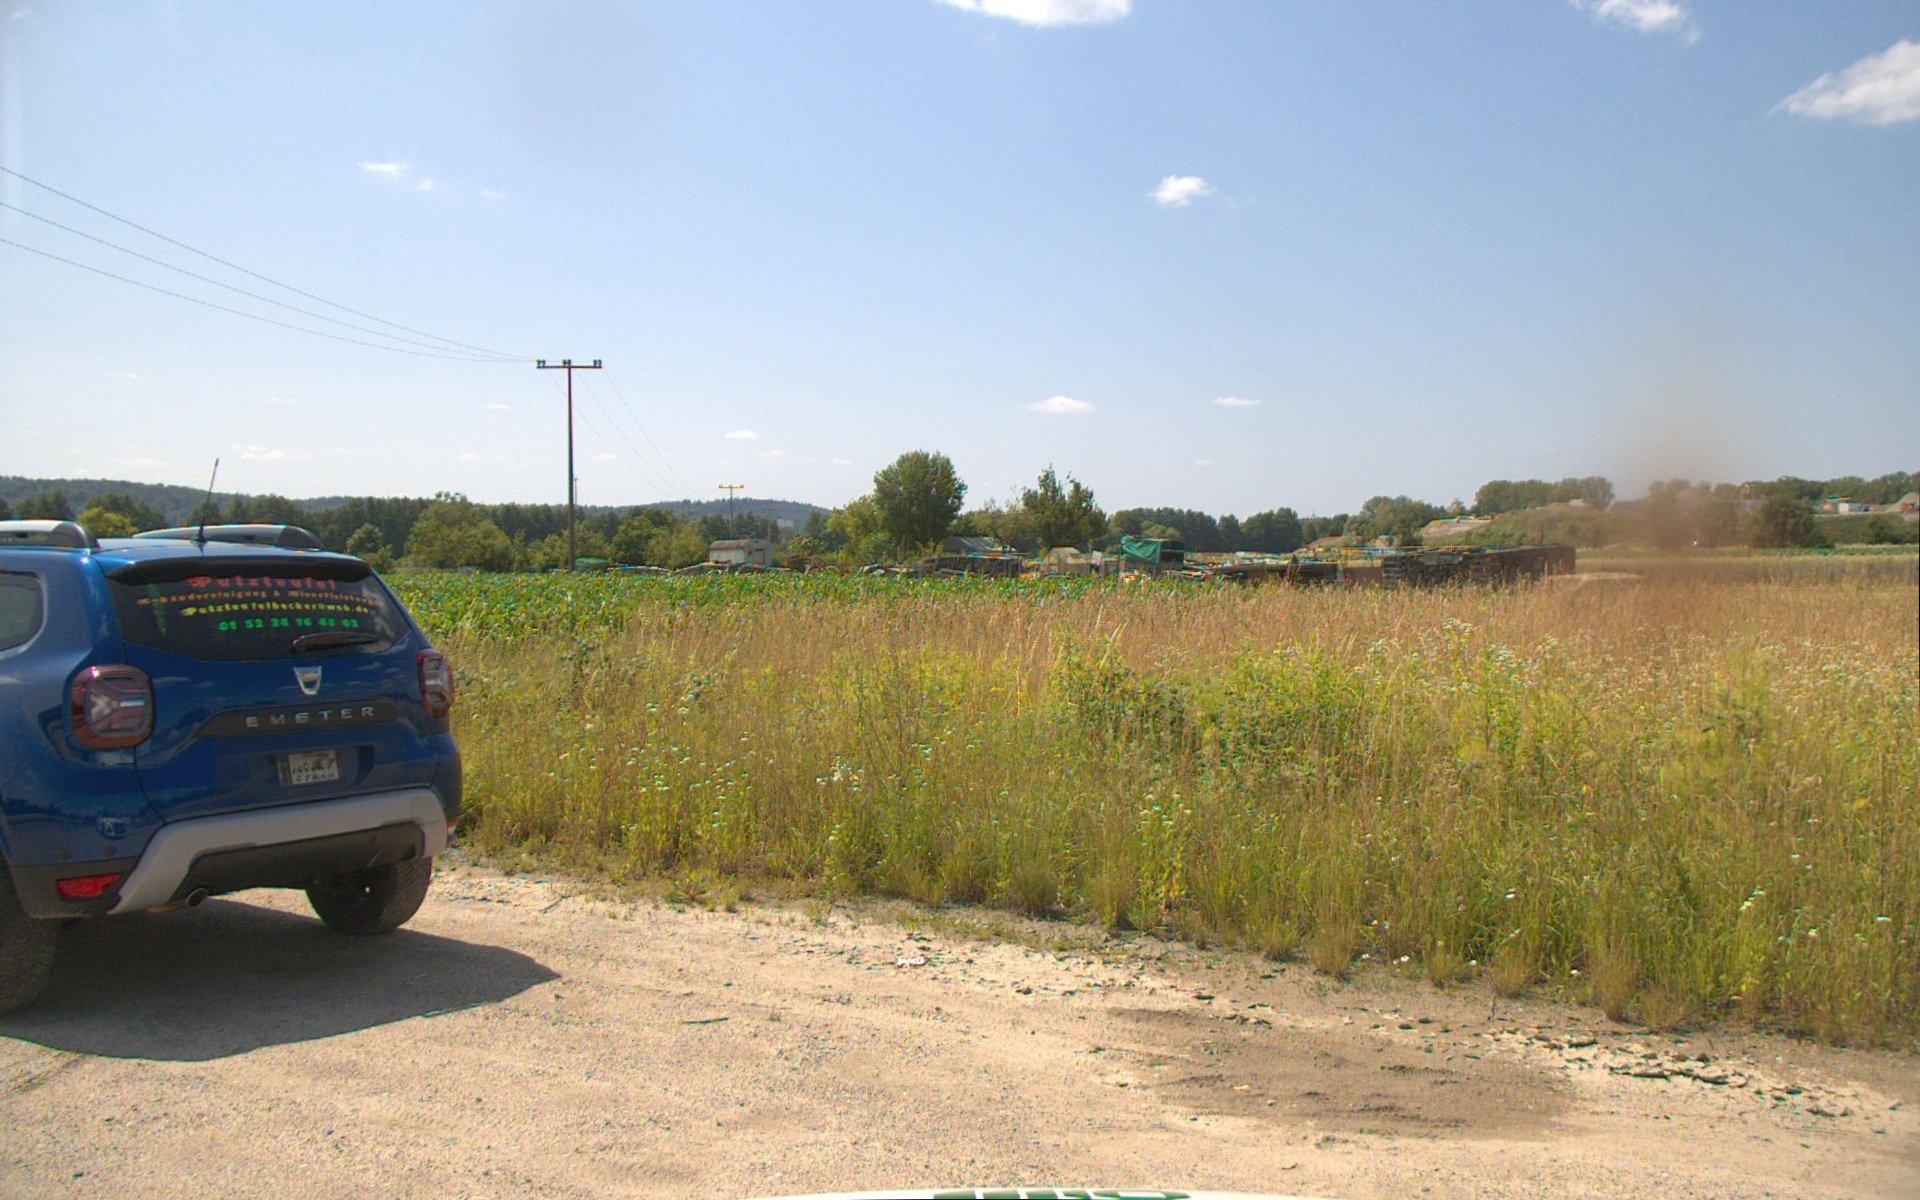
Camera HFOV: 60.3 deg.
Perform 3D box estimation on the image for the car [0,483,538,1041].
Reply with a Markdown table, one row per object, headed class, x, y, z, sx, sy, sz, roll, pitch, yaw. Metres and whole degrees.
| class | x | y | z | sx | sy | sz | roll | pitch | yaw |
| --- | --- | --- | --- | --- | --- | --- | --- | --- | --- |
| car | -4.008 | 0.499 | 6.996 | 4.365 | 1.690 | 1.859 | -1 | 0 | 33 |
